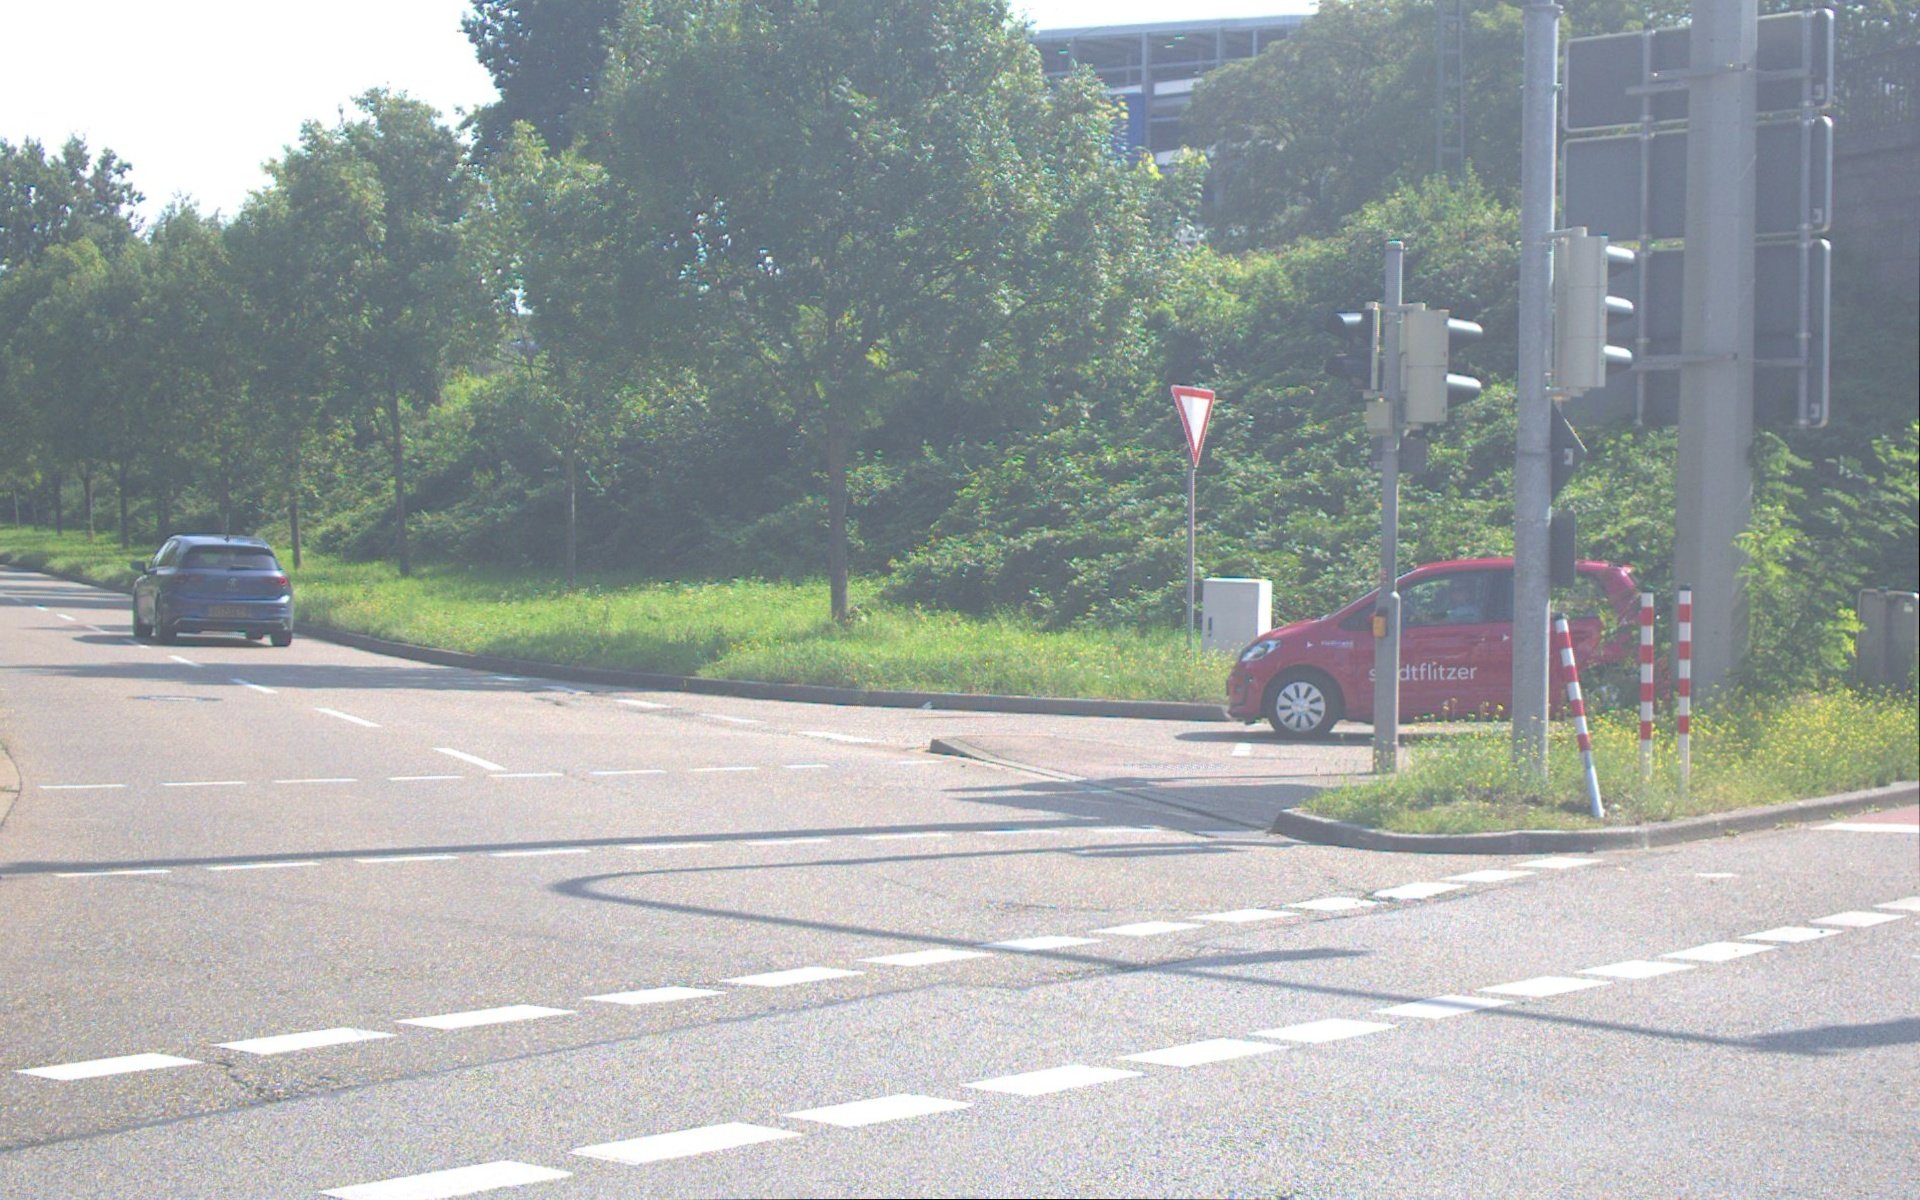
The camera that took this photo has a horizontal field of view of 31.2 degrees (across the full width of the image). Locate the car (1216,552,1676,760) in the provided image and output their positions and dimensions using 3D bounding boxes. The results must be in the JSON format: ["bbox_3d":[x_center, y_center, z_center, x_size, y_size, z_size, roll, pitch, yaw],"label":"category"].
[{"bbox_3d":[3.945,0.424,27.959,3.543,1.462,1.643,2,2,9],"label":"car"}]

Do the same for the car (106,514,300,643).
[{"bbox_3d":[-10.189,-0.313,46.085,1.780,1.423,4.002,2,3,-23],"label":"car"}]
